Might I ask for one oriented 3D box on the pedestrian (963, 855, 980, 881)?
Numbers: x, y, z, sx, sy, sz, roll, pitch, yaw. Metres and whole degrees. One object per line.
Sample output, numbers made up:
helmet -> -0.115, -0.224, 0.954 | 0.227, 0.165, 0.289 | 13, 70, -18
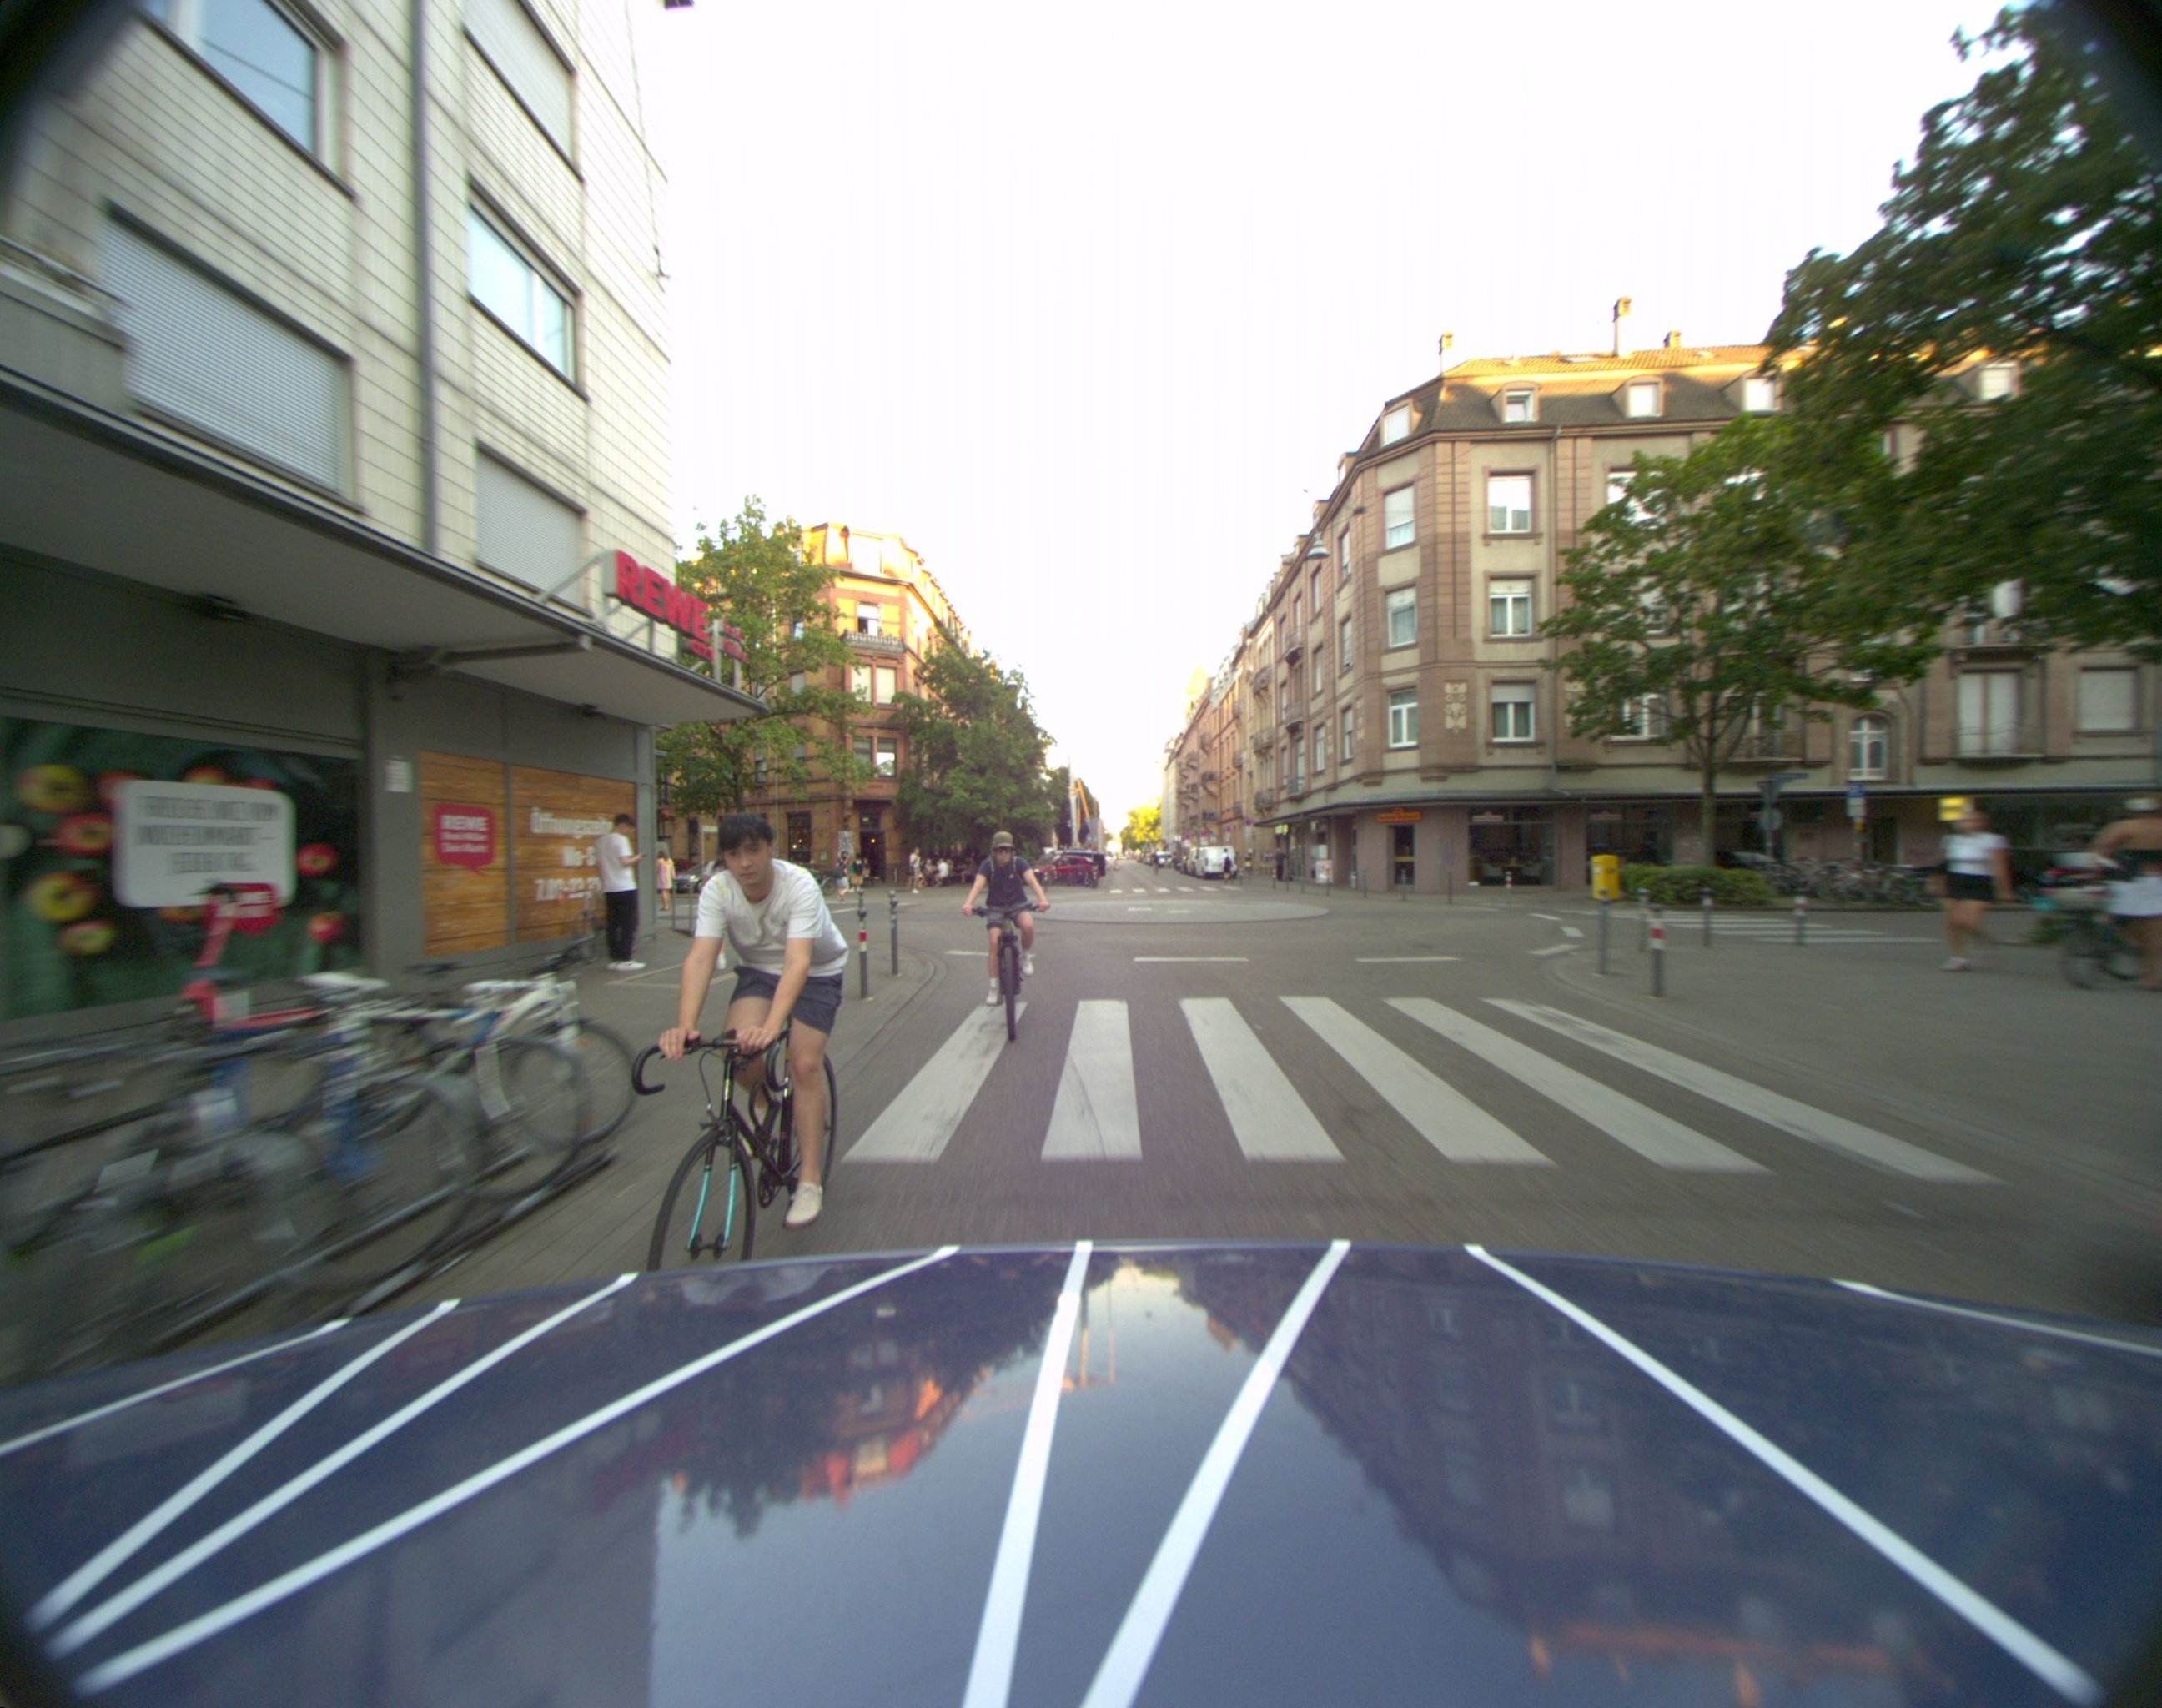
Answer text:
pedestrian -> -5.517, 0.696, 38.114 | 0.721, 1.297, 0.750 | -1, 1, -17

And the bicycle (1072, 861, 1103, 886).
bicycle -> 0.316, 0.970, 38.413 | 0.666, 1.162, 2.111 | 1, 0, -25

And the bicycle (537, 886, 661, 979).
bicycle -> -6.352, 0.997, 10.130 | 0.457, 1.019, 1.783 | -1, 1, 1

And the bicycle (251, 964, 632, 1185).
bicycle -> -3.297, 1.126, 3.999 | 1.551, 0.996, 0.510 | 1, 2, 0

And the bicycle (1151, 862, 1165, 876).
bicycle -> 6.221, 1.220, 61.445 | 0.754, 1.124, 1.975 | -1, 0, -3

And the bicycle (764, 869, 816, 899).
bicycle -> -11.644, 1.182, 30.419 | 0.711, 1.052, 1.887 | 0, 2, 29

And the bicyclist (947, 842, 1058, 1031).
bicyclist -> -0.667, 0.694, 6.741 | 0.793, 1.562, 0.826 | -2, 0, 4

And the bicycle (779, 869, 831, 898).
bicycle -> -10.934, 1.151, 30.168 | 0.711, 1.046, 1.887 | 0, 2, 29

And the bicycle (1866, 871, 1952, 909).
bicycle -> 20.605, 0.885, 18.919 | 1.488, 0.890, 0.477 | -1, 2, 7

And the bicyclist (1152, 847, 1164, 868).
bicyclist -> 6.200, 0.279, 61.443 | 0.754, 1.630, 1.201 | -1, 0, -3

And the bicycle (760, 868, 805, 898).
bicycle -> -12.224, 1.178, 31.172 | 0.711, 1.072, 1.886 | -1, 2, 13

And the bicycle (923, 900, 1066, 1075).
bicycle -> -0.658, 1.046, 6.712 | 0.793, 1.133, 2.344 | -2, 0, 4

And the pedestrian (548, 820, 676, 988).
pedestrian -> -5.700, 0.570, 9.314 | 0.762, 1.901, 1.190 | 2, 1, 3

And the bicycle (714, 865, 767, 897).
bicycle -> -14.171, 1.105, 31.671 | 0.710, 1.232, 1.888 | 0, 2, 35

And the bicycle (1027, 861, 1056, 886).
bicycle -> -1.950, 0.943, 37.465 | 0.666, 1.125, 2.111 | 1, 0, -25

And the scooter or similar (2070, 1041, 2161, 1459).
scooter or similar -> 3.341, 1.106, 1.670 | 0.809, 1.098, 1.172 | 0, 0, 3

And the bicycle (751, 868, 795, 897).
bicycle -> -12.730, 1.175, 31.473 | 0.711, 1.072, 1.886 | -1, 2, 13

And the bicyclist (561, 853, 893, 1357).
bicyclist -> -1.187, 0.765, 2.771 | 0.650, 1.500, 0.953 | -1, 2, 5

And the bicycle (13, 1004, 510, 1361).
bicycle -> -3.018, 1.147, 2.844 | 1.481, 0.996, 0.511 | 1, 2, 9

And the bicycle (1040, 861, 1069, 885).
bicycle -> -1.340, 0.936, 37.796 | 0.666, 1.125, 2.111 | 1, 0, -25

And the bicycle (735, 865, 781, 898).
bicycle -> -13.330, 1.110, 31.430 | 0.711, 1.232, 1.886 | -1, 2, 13

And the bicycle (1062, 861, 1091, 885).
bicycle -> -0.245, 0.952, 38.563 | 0.666, 1.162, 2.111 | 1, 0, -25

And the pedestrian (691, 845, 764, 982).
pedestrian -> -4.524, 0.727, 9.694 | 0.665, 1.642, 0.881 | 2, 1, -34

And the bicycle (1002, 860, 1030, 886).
bicycle -> -3.162, 0.911, 36.917 | 0.666, 1.158, 2.111 | 1, 0, -25

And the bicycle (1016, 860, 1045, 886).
bicycle -> -2.486, 0.916, 37.200 | 0.666, 1.158, 2.111 | 1, 0, -25

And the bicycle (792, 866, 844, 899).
bicycle -> -10.302, 1.102, 29.846 | 0.711, 1.148, 1.887 | 0, 2, 29

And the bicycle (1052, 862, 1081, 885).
bicycle -> -0.751, 0.965, 38.116 | 0.666, 1.125, 2.111 | 1, 0, -25

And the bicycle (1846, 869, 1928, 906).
bicycle -> 20.718, 0.866, 19.554 | 1.488, 0.890, 0.477 | -1, 2, 7

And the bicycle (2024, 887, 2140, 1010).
bicycle -> 9.801, 0.864, 7.457 | 1.778, 1.019, 0.611 | 0, -2, -37

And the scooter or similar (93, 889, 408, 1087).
scooter or similar -> -6.328, 0.941, 5.936 | 0.478, 1.211, 1.625 | 0, 2, 10

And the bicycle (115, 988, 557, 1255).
bicycle -> -3.204, 1.138, 3.350 | 1.421, 0.978, 0.510 | 1, 2, 0
